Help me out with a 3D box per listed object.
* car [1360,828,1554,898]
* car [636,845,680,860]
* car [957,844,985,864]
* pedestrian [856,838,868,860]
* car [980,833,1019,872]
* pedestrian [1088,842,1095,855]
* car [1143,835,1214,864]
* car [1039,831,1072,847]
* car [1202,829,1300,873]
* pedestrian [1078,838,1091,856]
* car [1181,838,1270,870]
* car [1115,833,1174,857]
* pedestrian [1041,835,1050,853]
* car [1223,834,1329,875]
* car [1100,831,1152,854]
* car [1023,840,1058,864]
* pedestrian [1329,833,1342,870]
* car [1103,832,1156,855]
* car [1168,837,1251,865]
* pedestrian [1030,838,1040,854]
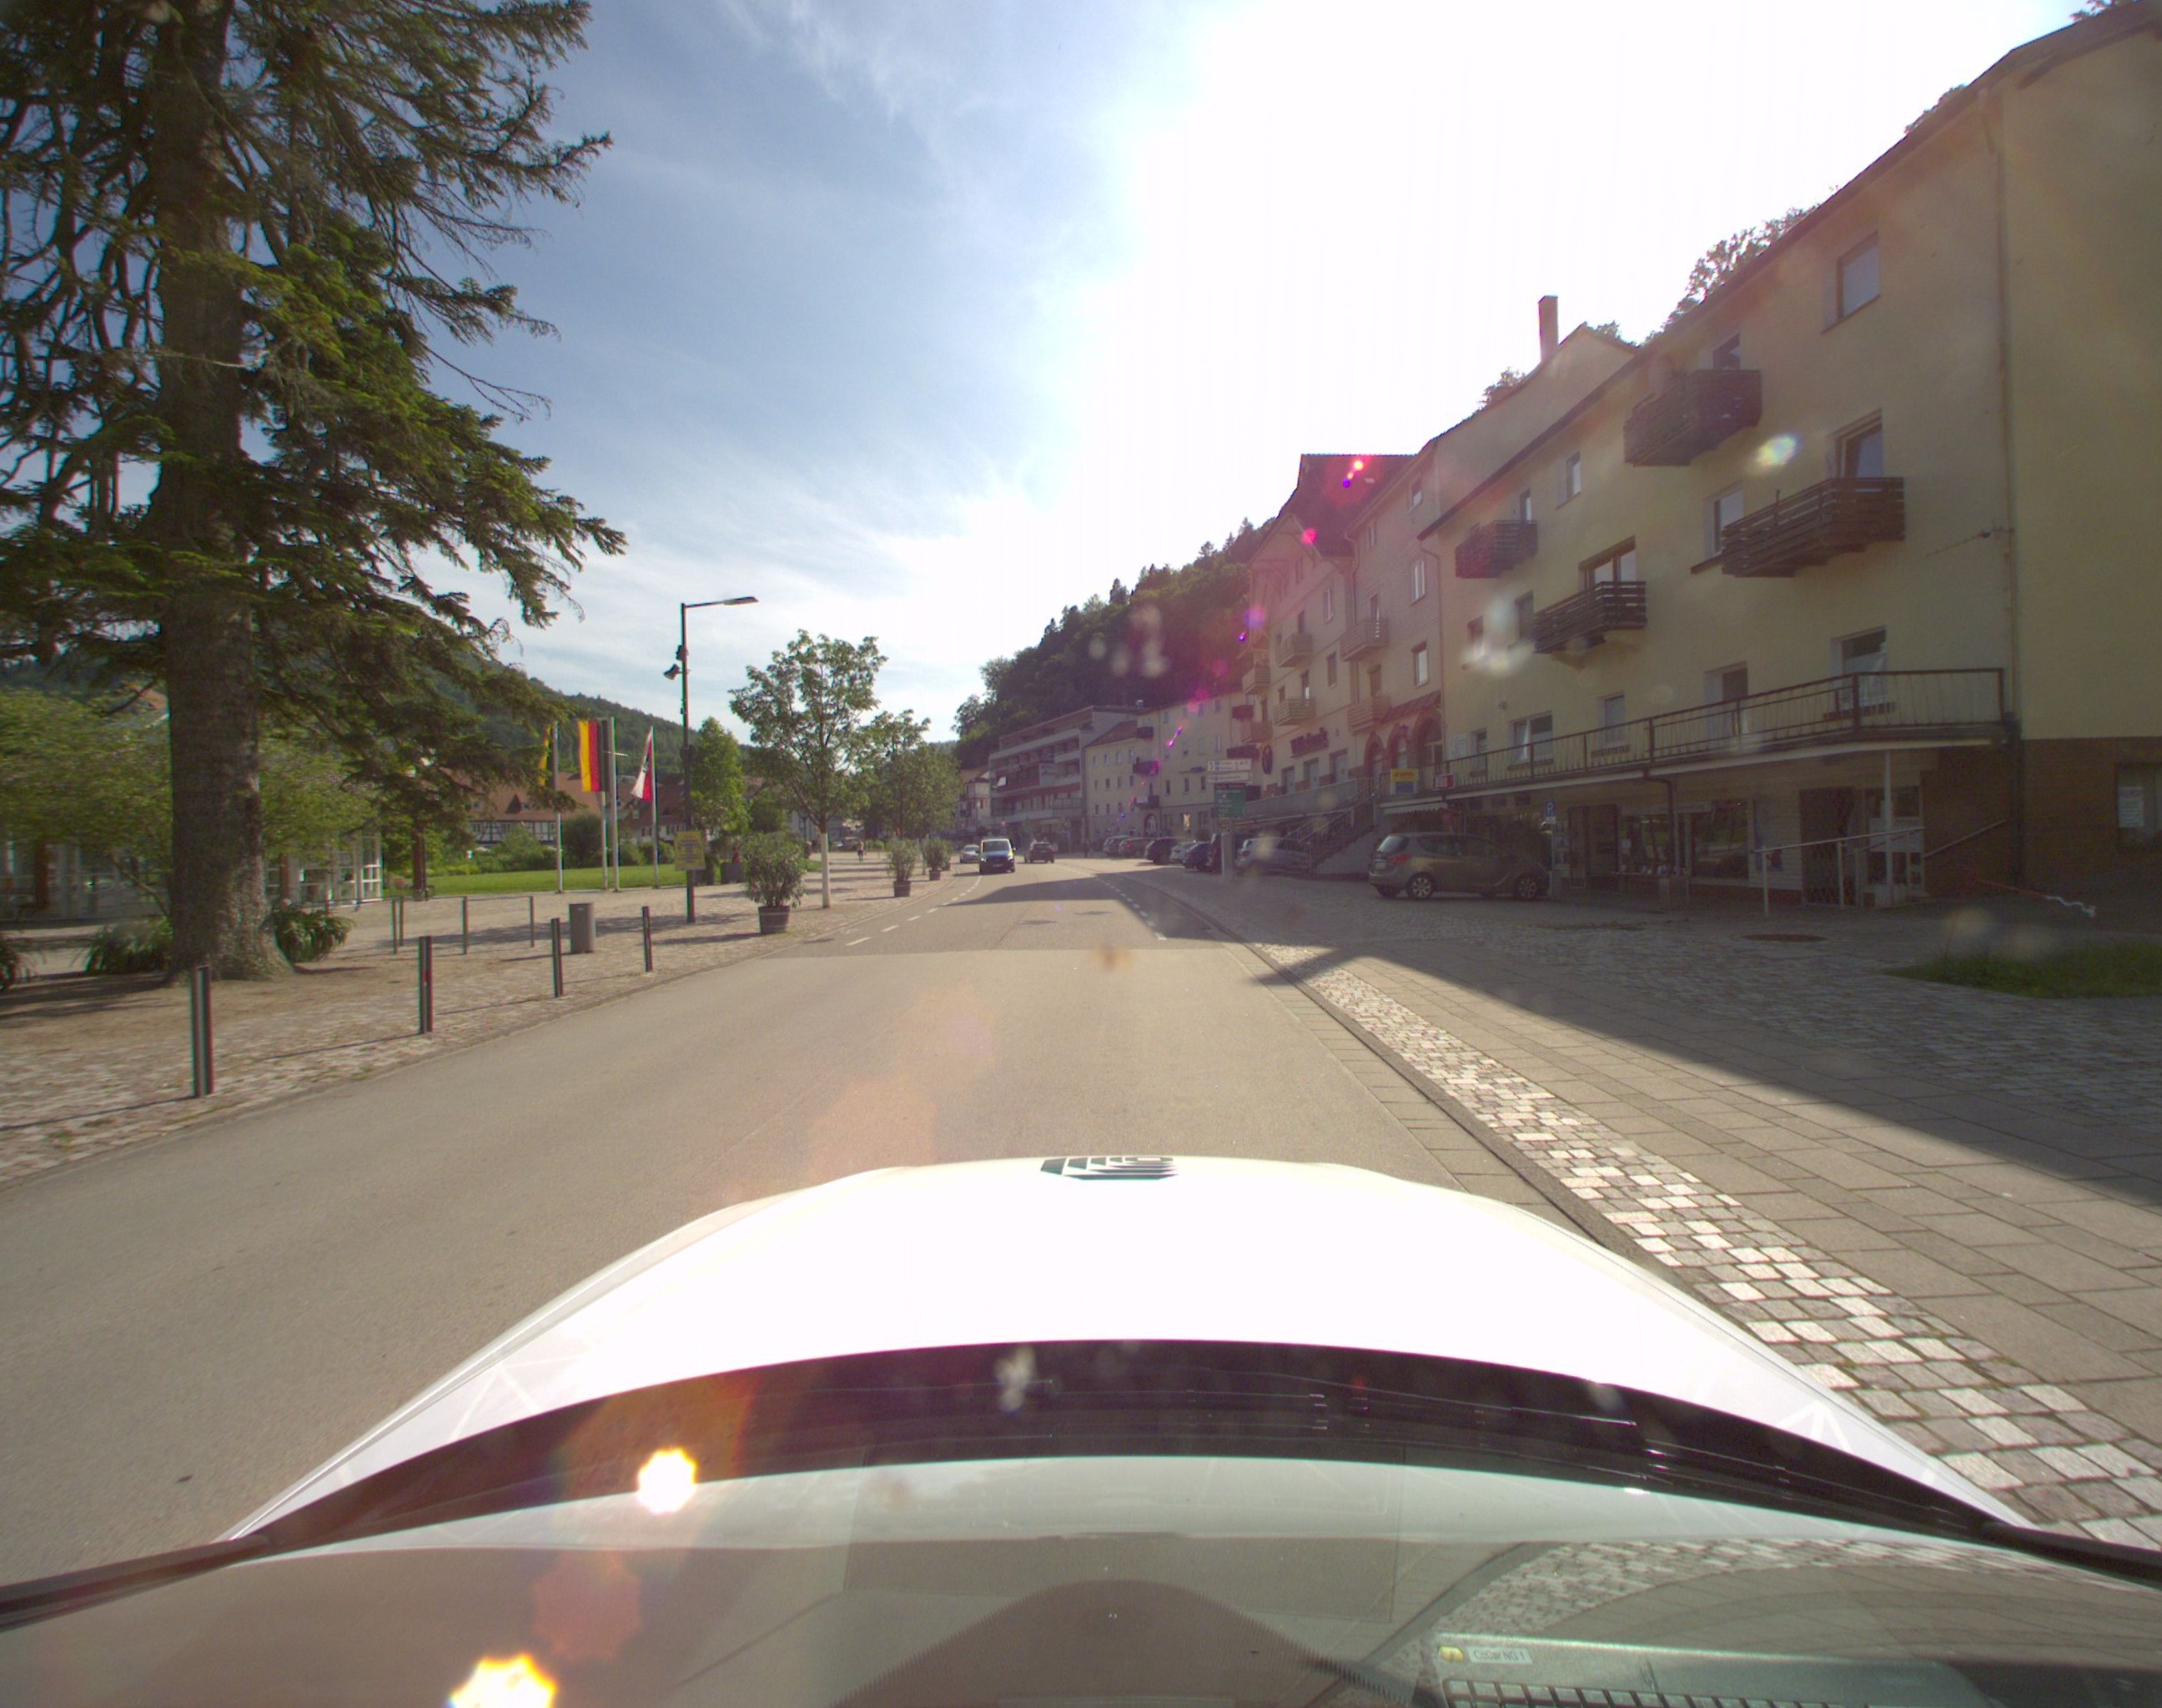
[{"bbox_3d":[8.915,0.201,19.485,3.852,1.554,1.758,0,1,-5],"label":"car"},{"bbox_3d":[-48.338,-0.212,93.167,4.203,1.616,1.671,-2,1,-39],"label":"car"},{"bbox_3d":[-8.601,-0.012,63.743,1.630,1.370,4.043,-4,1,-15],"label":"car"},{"bbox_3d":[-17.945,-0.428,66.731,0.870,1.815,0.686,-2,1,-24],"label":"pedestrian"},{"bbox_3d":[-4.620,-0.114,45.429,1.854,1.953,5.003,-3,1,-8],"label":"car"},{"bbox_3d":[0.891,-0.458,67.544,0.418,1.002,0.528,-4,1,-14],"label":"pedestrian"},{"bbox_3d":[5.976,-0.303,50.221,4.073,1.666,1.771,1,1,-2],"label":"car"},{"bbox_3d":[-2.746,-1.671,88.444,3.177,1.662,1.582,-2,1,-23],"label":"car"},{"bbox_3d":[7.484,-0.139,36.070,3.899,1.804,1.856,1,0,-2],"label":"car"},{"bbox_3d":[0.289,-0.616,67.394,0.738,1.442,0.628,-4,1,-21],"label":"pedestrian"},{"bbox_3d":[6.841,0.009,38.718,3.899,1.460,1.735,0,1,-2],"label":"car"},{"bbox_3d":[4.836,-0.724,62.132,4.027,1.516,1.759,-5,3,-22],"label":"car"},{"bbox_3d":[-3.503,-1.022,80.434,0.672,1.728,0.702,-2,1,-24],"label":"pedestrian"},{"bbox_3d":[7.929,0.002,33.338,3.899,1.589,1.774,1,1,-2],"label":"car"},{"bbox_3d":[3.734,-0.983,67.838,3.878,1.612,1.759,-5,3,-22],"label":"car"},{"bbox_3d":[-3.039,-0.189,60.120,1.731,1.574,3.732,-2,2,-17],"label":"car"},{"bbox_3d":[11.670,-0.132,37.305,0.409,1.658,0.435,-4,1,5],"label":"pedestrian"},{"bbox_3d":[3.902,-0.855,65.479,3.878,1.549,1.759,-5,3,-22],"label":"car"},{"bbox_3d":[7.100,-0.154,45.358,4.342,1.461,1.772,0,-1,0],"label":"car"},{"bbox_3d":[-4.564,-0.820,80.698,0.761,1.593,0.623,-2,1,-25],"label":"pedestrian"}]
